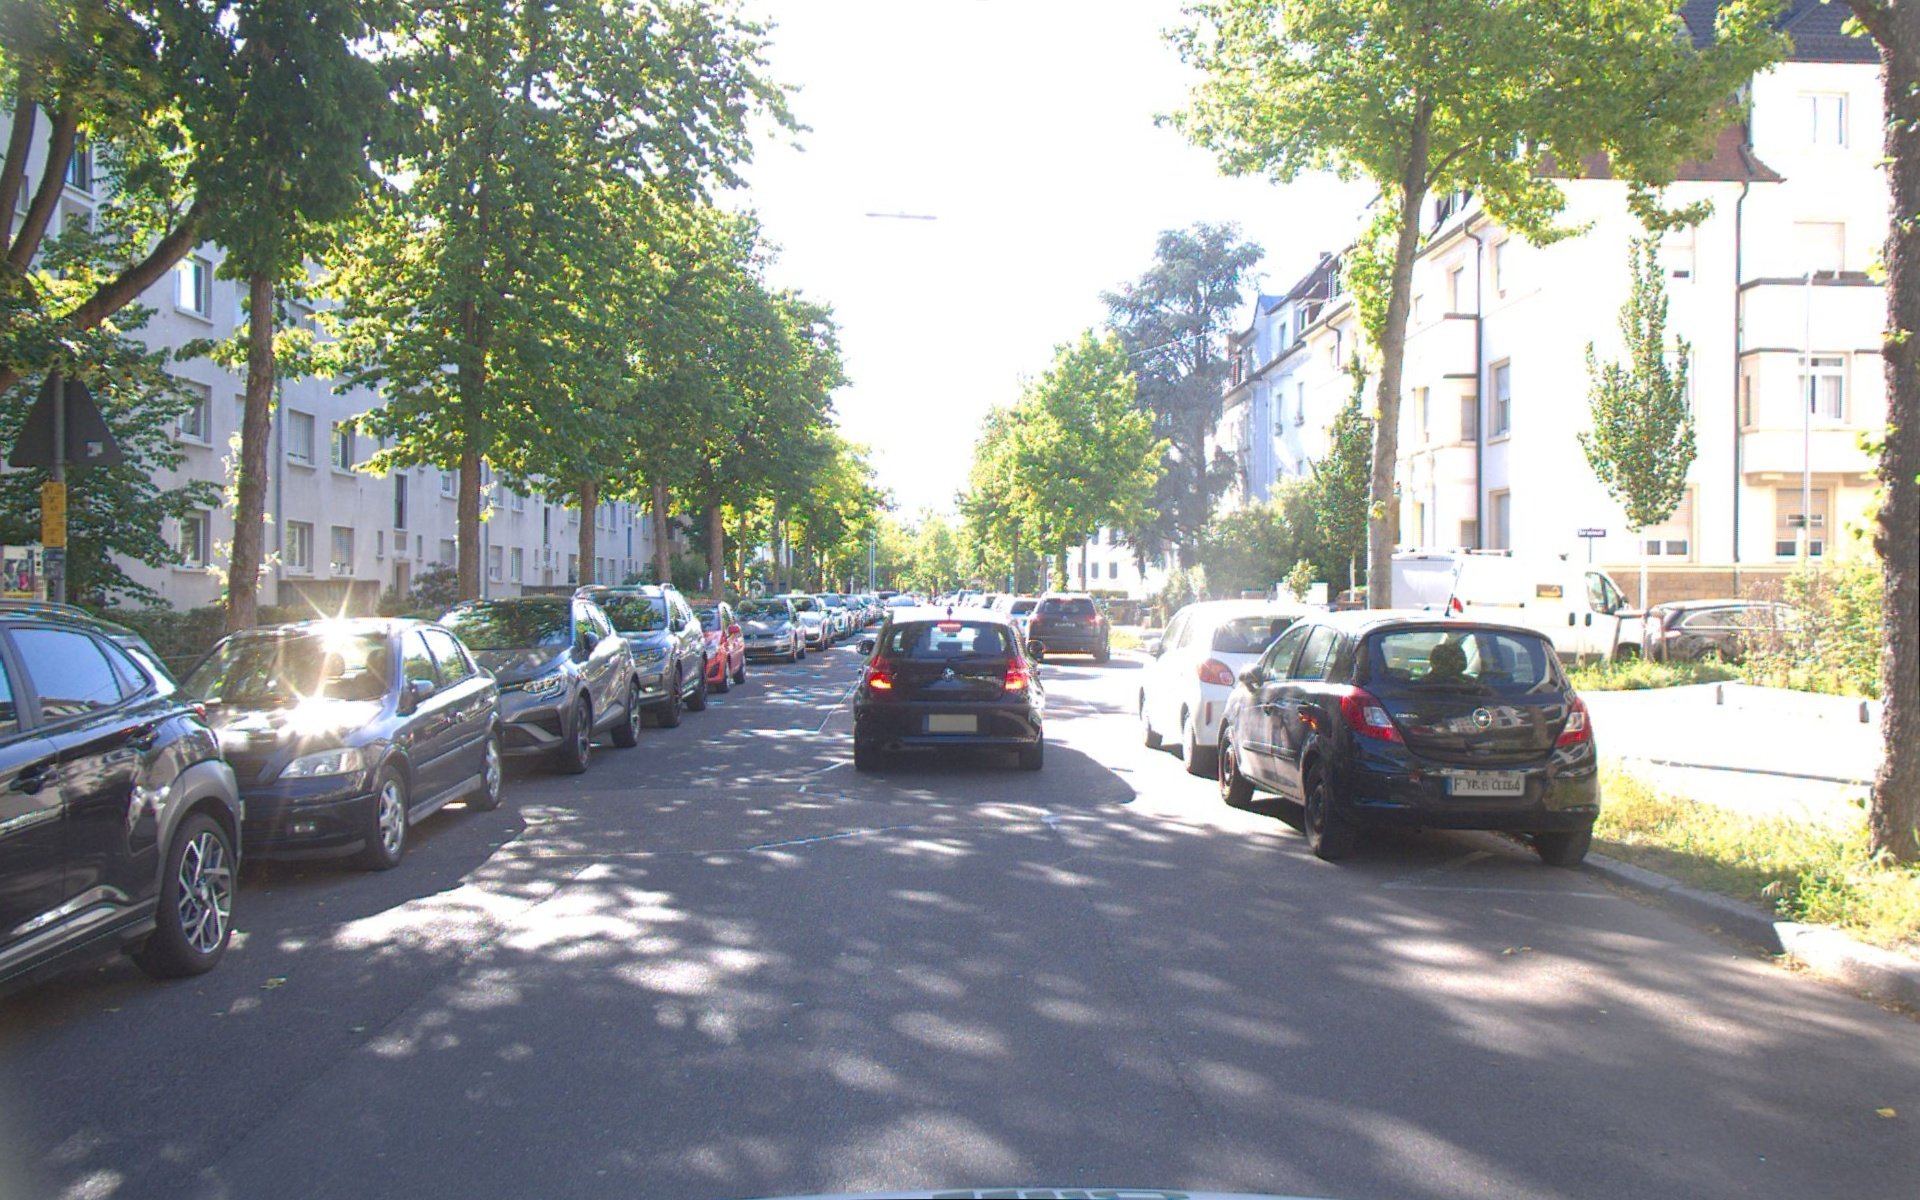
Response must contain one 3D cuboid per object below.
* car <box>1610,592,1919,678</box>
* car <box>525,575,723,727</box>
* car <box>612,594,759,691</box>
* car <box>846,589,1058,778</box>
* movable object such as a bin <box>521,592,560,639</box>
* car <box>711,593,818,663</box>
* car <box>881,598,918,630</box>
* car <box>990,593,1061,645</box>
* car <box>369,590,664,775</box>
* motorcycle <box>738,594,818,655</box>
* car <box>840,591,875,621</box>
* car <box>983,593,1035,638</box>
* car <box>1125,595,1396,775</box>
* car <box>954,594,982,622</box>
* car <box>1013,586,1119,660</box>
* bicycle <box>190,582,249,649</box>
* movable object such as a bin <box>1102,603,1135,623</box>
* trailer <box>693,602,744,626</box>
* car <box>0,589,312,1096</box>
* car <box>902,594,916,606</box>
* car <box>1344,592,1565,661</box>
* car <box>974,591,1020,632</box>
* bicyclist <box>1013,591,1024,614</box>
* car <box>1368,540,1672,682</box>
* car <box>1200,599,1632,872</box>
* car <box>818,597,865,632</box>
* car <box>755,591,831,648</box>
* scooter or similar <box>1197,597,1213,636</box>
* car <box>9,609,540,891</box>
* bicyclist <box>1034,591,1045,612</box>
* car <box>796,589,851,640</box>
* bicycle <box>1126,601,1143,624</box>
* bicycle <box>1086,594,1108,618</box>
[{"bbox_3d":[14.851,0.616,30.650,4.830,1.495,2.046,0,0,-3],"label":"car"},{"bbox_3d":[-4.205,0.573,21.425,1.732,1.717,4.812,-1,0,-2],"label":"car"},{"bbox_3d":[-4.497,0.648,27.677,1.818,1.495,4.181,0,0,-1],"label":"car"},{"bbox_3d":[-0.006,0.686,15.783,1.745,1.550,4.001,-1,0,2],"label":"car"},{"bbox_3d":[-12.276,0.447,48.468,0.912,1.347,1.377,-1,0,-7],"label":"movable object such as a bin"},{"bbox_3d":[-4.555,0.619,39.151,2.001,1.551,4.606,0,0,0],"label":"car"},{"bbox_3d":[-2.982,0.667,81.392,1.773,1.471,4.364,-2,0,-2],"label":"car"},{"bbox_3d":[1.994,0.566,51.718,1.785,1.495,4.907,2,0,-3],"label":"car"},{"bbox_3d":[-4.145,0.688,16.189,1.733,1.558,4.419,0,0,-1],"label":"car"},{"bbox_3d":[-4.739,0.632,42.995,0.981,1.530,2.200,-1,0,-41],"label":"motorcycle"},{"bbox_3d":[-5.657,0.311,91.564,1.775,1.624,4.231,-1,0,-2],"label":"car"},{"bbox_3d":[1.812,0.553,62.431,1.621,1.559,3.967,2,0,-3],"label":"car"},{"bbox_3d":[2.755,0.714,16.021,1.698,1.513,4.007,1,0,-3],"label":"car"},{"bbox_3d":[0.574,0.567,121.931,1.931,1.983,4.983,0,0,-2],"label":"car"},{"bbox_3d":[2.314,0.508,37.330,1.858,1.551,4.964,1,-1,-3],"label":"car"},{"bbox_3d":[-14.908,0.294,33.337,0.390,1.311,1.913,0,0,-2],"label":"bicycle"},{"bbox_3d":[7.390,0.588,77.007,1.196,0.920,1.665,0,0,19],"label":"movable object such as a bin"},{"bbox_3d":[-10.673,0.617,73.195,1.752,1.052,3.281,0,0,1],"label":"trailer"},{"bbox_3d":[-3.890,0.780,5.552,1.671,1.604,4.481,-1,0,0],"label":"car"},{"bbox_3d":[-7.148,-0.021,233.174,1.748,1.637,3.995,0,0,-6],"label":"car"},{"bbox_3d":[10.989,0.576,37.080,4.617,1.495,1.955,0,0,13],"label":"car"},{"bbox_3d":[1.574,0.469,72.007,1.886,1.680,5.095,2,0,0],"label":"car"},{"bbox_3d":[4.255,0.201,120.898,0.663,1.638,0.921,0,0,-5],"label":"bicyclist"},{"bbox_3d":[9.898,0.160,29.234,4.976,2.346,2.217,0,0,-25],"label":"car"},{"bbox_3d":[2.890,0.769,11.454,1.637,1.476,4.177,2,0,-3],"label":"car"},{"bbox_3d":[-5.051,0.589,71.082,1.743,1.403,4.261,-2,0,-1],"label":"car"},{"bbox_3d":[-4.681,0.513,46.975,2.023,1.551,4.718,0,0,-4],"label":"car"},{"bbox_3d":[7.855,0.518,52.995,0.393,1.205,1.207,0,1,14],"label":"scooter or similar"},{"bbox_3d":[-4.093,0.782,10.761,1.749,1.376,4.479,-1,0,-3],"label":"car"},{"bbox_3d":[5.857,0.103,121.214,0.663,1.580,1.021,0,0,-5],"label":"bicyclist"},{"bbox_3d":[-4.810,0.493,58.723,1.694,1.646,4.364,-3,0,-2],"label":"car"},{"bbox_3d":[7.761,0.534,73.508,0.569,0.992,1.903,-1,0,0],"label":"bicycle"},{"bbox_3d":[7.379,0.340,89.377,0.822,1.279,2.229,1,0,-5],"label":"bicycle"}]
